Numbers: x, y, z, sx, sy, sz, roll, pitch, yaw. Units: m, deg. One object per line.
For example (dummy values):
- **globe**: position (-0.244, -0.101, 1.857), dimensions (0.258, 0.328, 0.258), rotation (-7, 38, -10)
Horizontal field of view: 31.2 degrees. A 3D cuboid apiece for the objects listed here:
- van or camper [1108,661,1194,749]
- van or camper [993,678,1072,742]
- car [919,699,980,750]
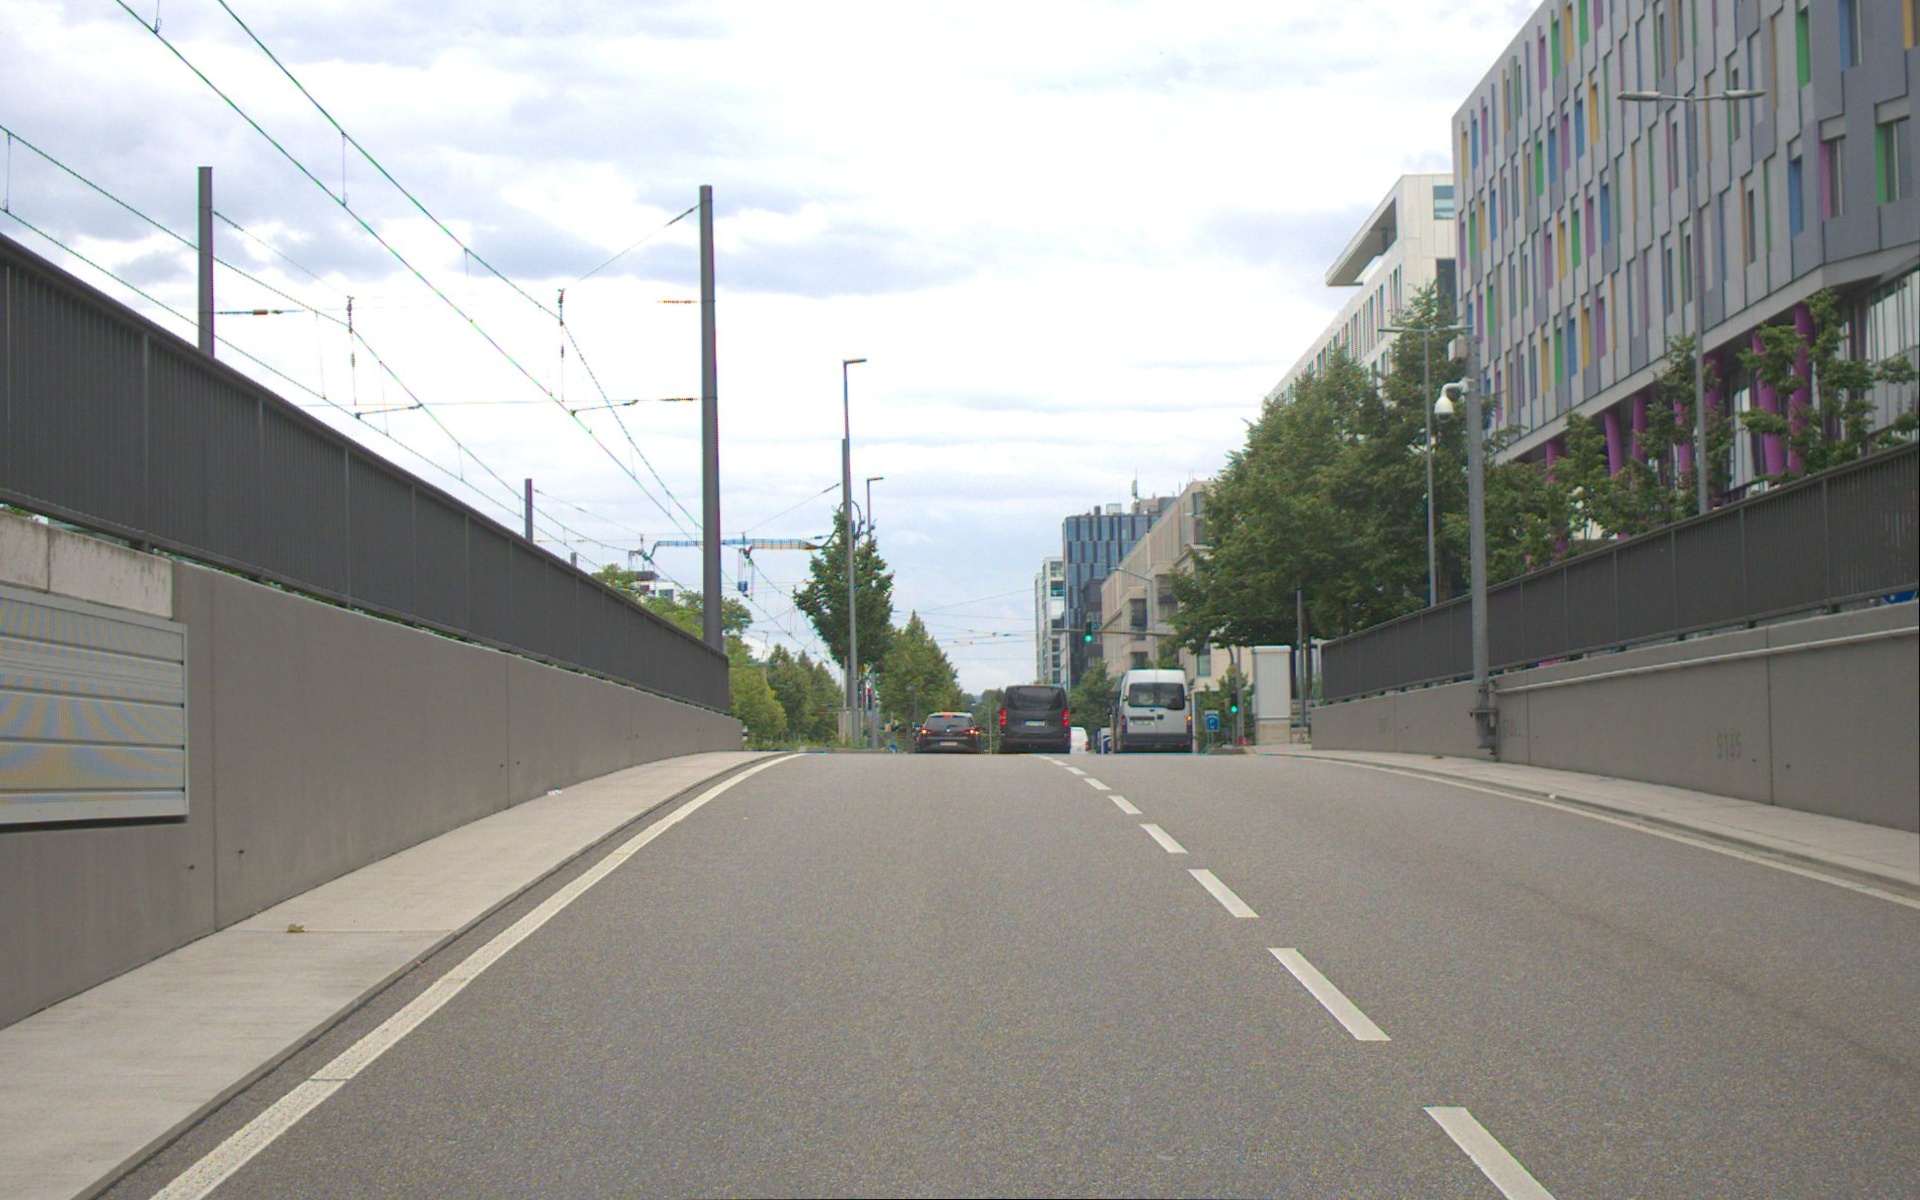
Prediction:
- **van or camper**: position (5.236, 2.877, 94.784), dimensions (2.109, 2.348, 4.922), rotation (0, -1, 1)
- **van or camper**: position (1.862, 2.879, 89.760), dimensions (1.993, 1.610, 4.788), rotation (0, -2, 1)
- **car**: position (-0.321, 3.709, 101.874), dimensions (1.743, 1.413, 3.999), rotation (1, -3, -1)
